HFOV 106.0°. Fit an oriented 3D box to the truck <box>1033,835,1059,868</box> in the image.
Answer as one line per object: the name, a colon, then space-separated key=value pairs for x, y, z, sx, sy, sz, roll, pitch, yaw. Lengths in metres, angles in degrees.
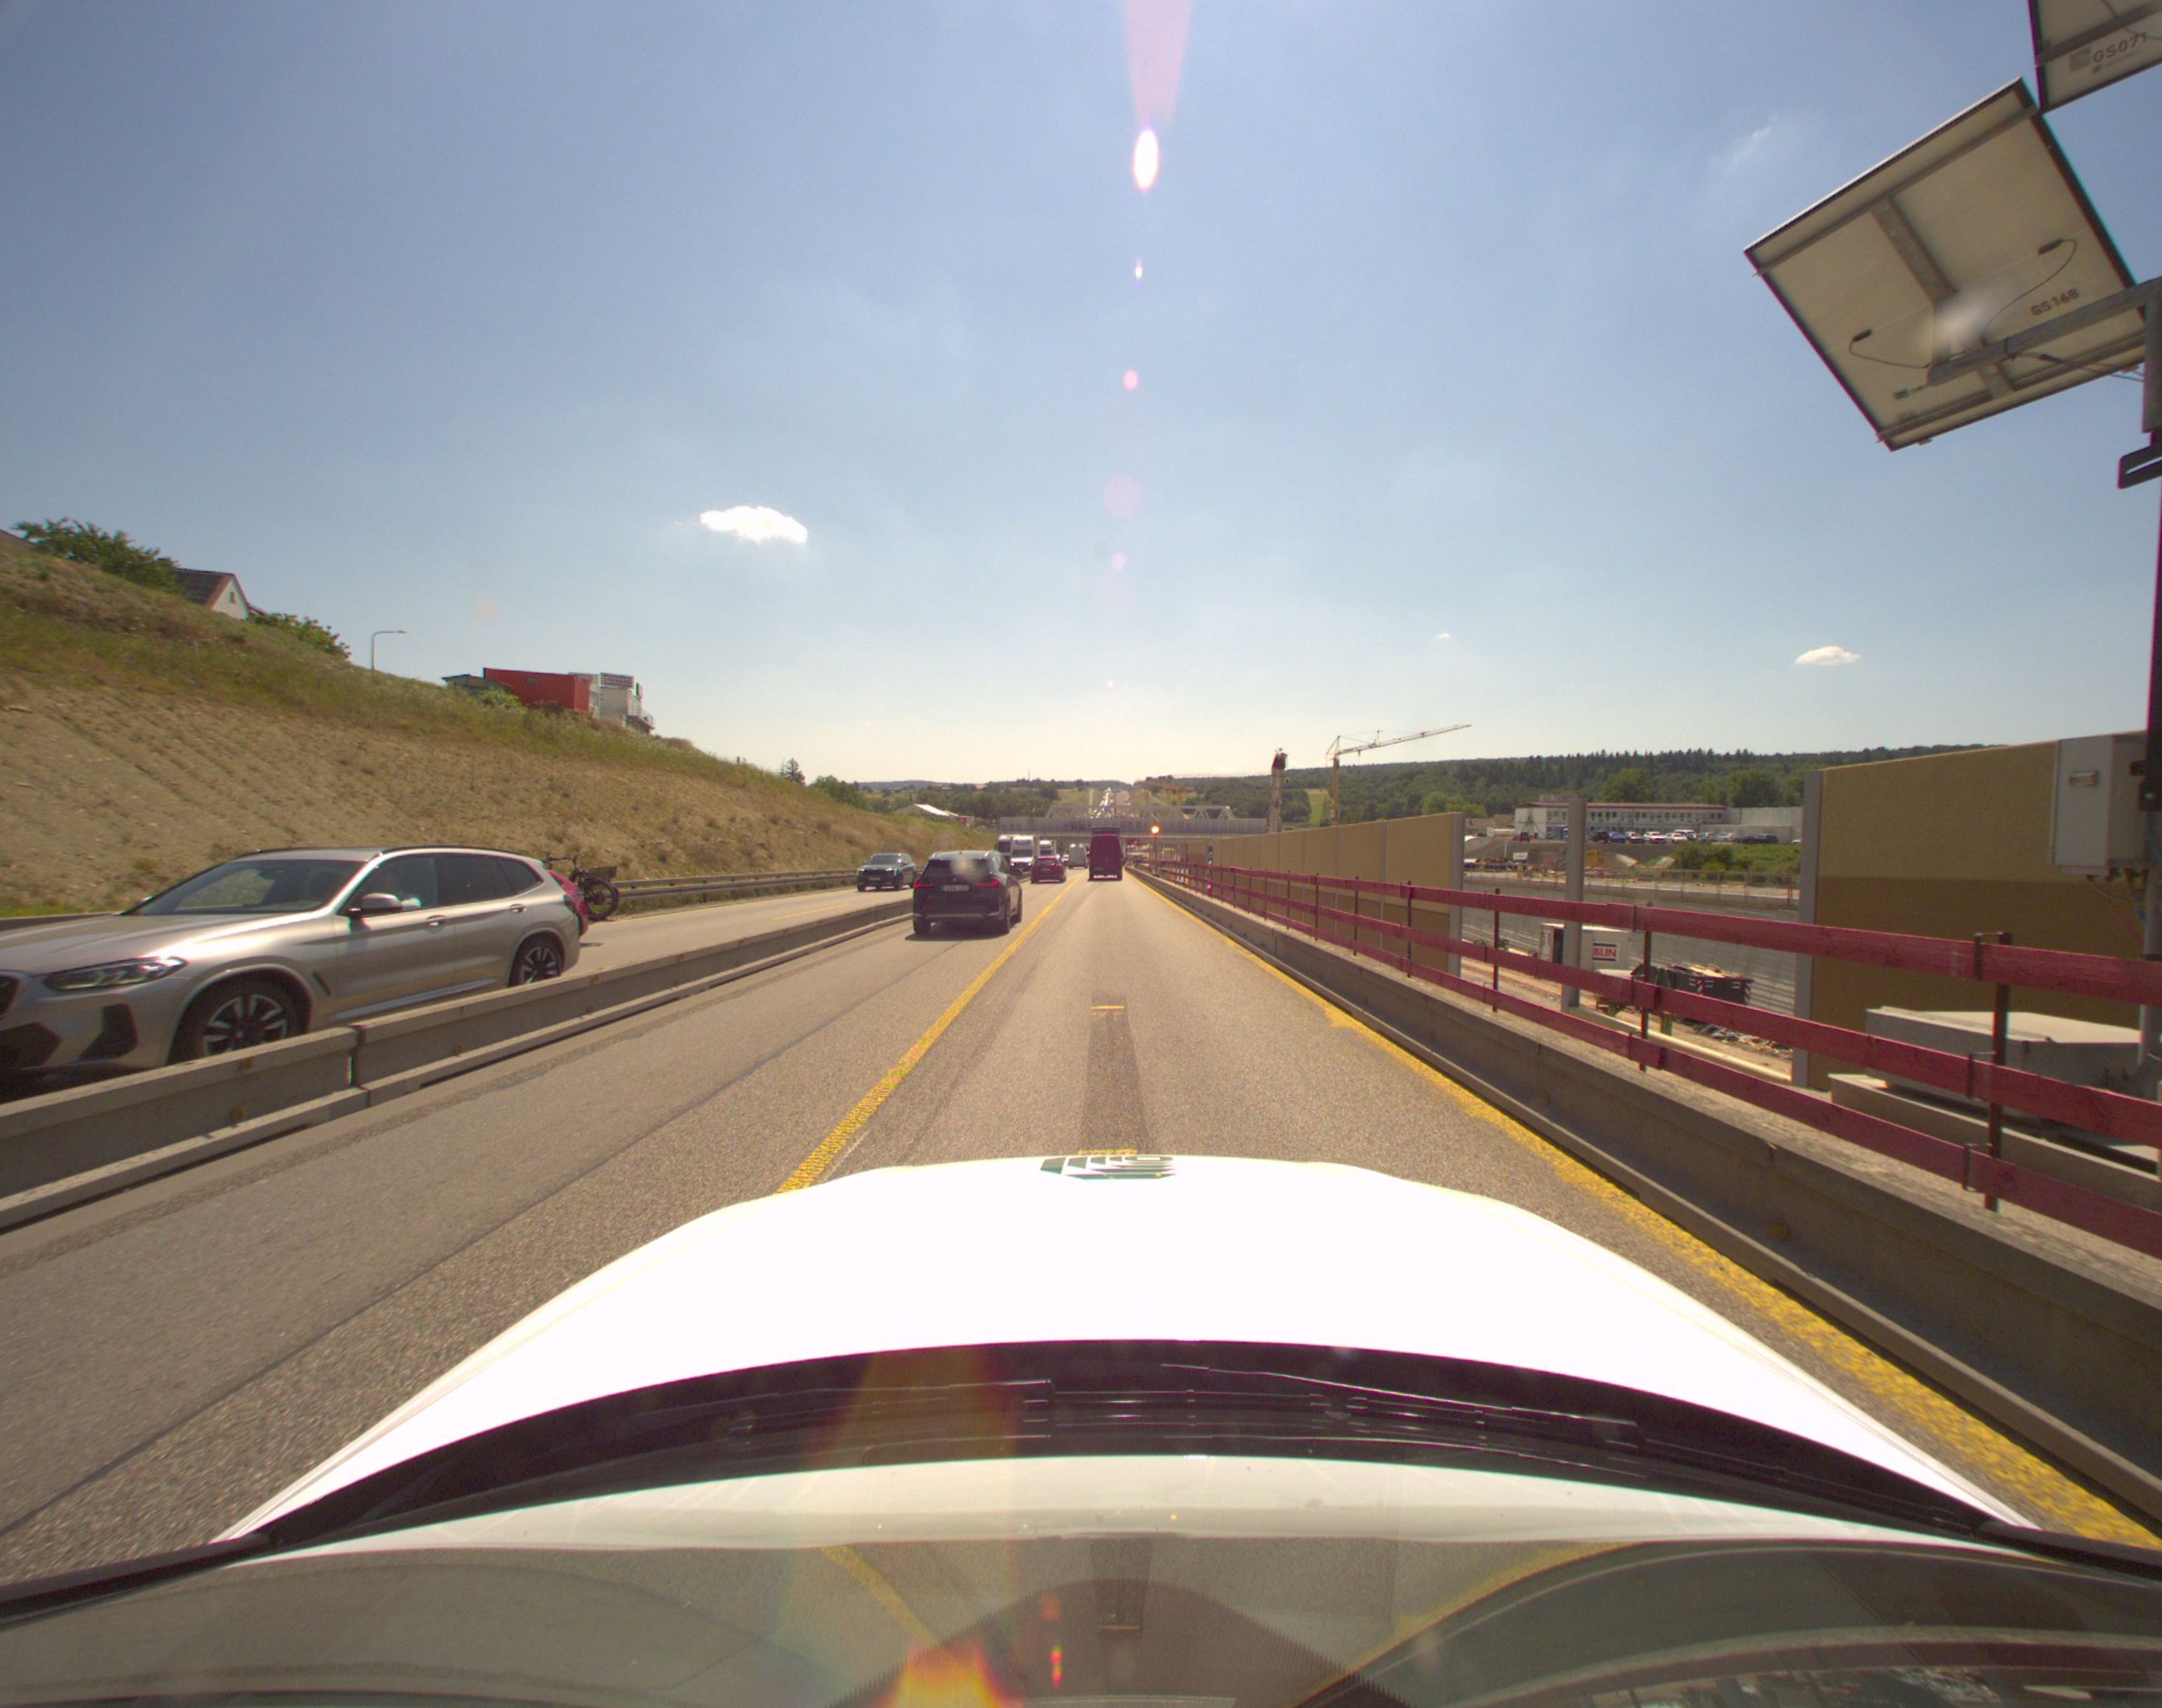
truck: x=-4.112 y=-0.322 z=97.823 sx=2.580 sy=3.758 sz=7.360 roll=0 pitch=0 yaw=1

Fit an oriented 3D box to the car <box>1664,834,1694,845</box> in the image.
car: x=88.105 y=-2.176 z=120.100 sx=1.673 sy=1.517 sz=4.079 roll=0 pitch=0 yaw=3

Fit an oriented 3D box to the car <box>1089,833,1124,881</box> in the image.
car: x=1.524 y=0.152 z=48.940 sx=1.981 sy=2.690 sz=4.625 roll=-1 pitch=0 yaw=1

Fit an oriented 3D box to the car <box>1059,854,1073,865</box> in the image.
car: x=-2.505 y=0.845 z=136.790 sx=2.027 sy=1.823 sz=4.961 roll=0 pitch=0 yaw=1

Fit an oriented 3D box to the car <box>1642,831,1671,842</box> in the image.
car: x=85.403 y=-2.527 z=120.906 sx=1.706 sy=1.517 sz=4.079 roll=0 pitch=0 yaw=3

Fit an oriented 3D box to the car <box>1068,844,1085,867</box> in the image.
car: x=-0.489 y=0.151 z=92.496 sx=1.769 sy=2.441 sz=4.207 roll=-1 pitch=0 yaw=1

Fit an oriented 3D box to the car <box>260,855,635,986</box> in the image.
car: x=-9.203 y=0.824 z=12.583 sx=1.678 sy=1.585 sz=5.128 roll=0 pitch=0 yaw=1

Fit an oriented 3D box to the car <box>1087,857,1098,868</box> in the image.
car: x=1.804 y=1.309 z=127.159 sx=1.769 sy=1.670 sz=4.030 roll=-1 pitch=0 yaw=1

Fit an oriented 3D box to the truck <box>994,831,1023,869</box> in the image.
truck: x=-7.825 y=-0.439 z=88.722 sx=2.688 sy=4.050 sz=3.956 roll=0 pitch=0 yaw=1

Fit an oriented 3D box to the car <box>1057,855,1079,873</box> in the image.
car: x=-1.199 y=0.908 z=77.183 sx=1.833 sy=1.654 sz=4.165 roll=-1 pitch=0 yaw=1

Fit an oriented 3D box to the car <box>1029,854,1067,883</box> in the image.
car: x=-1.781 y=0.767 z=44.873 sx=1.769 sy=1.517 sz=4.208 roll=-1 pitch=0 yaw=2

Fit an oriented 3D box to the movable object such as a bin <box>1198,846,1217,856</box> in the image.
movable object such as a bin: x=34.598 y=-0.814 z=222.686 sx=5.119 sy=2.807 sz=2.147 roll=0 pitch=0 yaw=7

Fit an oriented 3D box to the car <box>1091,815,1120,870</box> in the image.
car: x=2.376 y=-1.031 z=79.984 sx=2.611 sy=5.032 sz=10.400 roll=-1 pitch=0 yaw=2

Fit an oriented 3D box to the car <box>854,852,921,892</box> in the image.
car: x=-8.789 y=0.775 z=37.474 sx=1.847 sy=1.672 sz=4.669 roll=-1 pitch=0 yaw=1

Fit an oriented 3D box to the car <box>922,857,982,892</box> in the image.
car: x=-5.717 y=0.857 z=36.752 sx=1.790 sy=1.427 sz=4.951 roll=-1 pitch=0 yaw=1

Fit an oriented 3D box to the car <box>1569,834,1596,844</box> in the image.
car: x=75.374 y=-2.264 z=122.488 sx=1.673 sy=1.517 sz=4.079 roll=0 pitch=0 yaw=3

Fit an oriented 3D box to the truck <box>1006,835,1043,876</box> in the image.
truck: x=-4.891 y=0.133 z=71.356 sx=2.529 sy=3.374 sz=7.039 roll=0 pitch=0 yaw=1

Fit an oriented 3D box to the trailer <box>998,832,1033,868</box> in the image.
trailer: x=-7.623 y=-0.452 z=96.507 sx=2.688 sy=4.024 sz=13.705 roll=0 pitch=0 yaw=1

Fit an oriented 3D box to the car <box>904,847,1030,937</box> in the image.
car: x=-2.230 y=0.694 z=17.138 sx=1.873 sy=1.618 sz=4.500 roll=-1 pitch=0 yaw=1

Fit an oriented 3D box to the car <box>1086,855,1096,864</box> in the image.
car: x=1.792 y=0.993 z=145.337 sx=1.769 sy=1.670 sz=4.030 roll=-1 pitch=0 yaw=1

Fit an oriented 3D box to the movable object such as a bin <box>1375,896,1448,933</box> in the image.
movable object such as a bin: x=27.466 y=4.948 z=68.067 sx=3.151 sy=2.446 sz=7.899 roll=2 pitch=0 yaw=2

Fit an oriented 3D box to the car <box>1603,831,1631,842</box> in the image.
car: x=80.313 y=-2.562 z=122.123 sx=1.673 sy=1.517 sz=4.079 roll=0 pitch=0 yaw=3

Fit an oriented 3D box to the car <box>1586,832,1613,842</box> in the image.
car: x=77.771 y=-2.529 z=122.278 sx=1.673 sy=1.517 sz=4.079 roll=0 pitch=0 yaw=3

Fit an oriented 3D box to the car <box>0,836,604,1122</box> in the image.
car: x=-6.517 y=0.732 z=7.110 sx=1.838 sy=1.665 sz=4.690 roll=0 pitch=0 yaw=1
